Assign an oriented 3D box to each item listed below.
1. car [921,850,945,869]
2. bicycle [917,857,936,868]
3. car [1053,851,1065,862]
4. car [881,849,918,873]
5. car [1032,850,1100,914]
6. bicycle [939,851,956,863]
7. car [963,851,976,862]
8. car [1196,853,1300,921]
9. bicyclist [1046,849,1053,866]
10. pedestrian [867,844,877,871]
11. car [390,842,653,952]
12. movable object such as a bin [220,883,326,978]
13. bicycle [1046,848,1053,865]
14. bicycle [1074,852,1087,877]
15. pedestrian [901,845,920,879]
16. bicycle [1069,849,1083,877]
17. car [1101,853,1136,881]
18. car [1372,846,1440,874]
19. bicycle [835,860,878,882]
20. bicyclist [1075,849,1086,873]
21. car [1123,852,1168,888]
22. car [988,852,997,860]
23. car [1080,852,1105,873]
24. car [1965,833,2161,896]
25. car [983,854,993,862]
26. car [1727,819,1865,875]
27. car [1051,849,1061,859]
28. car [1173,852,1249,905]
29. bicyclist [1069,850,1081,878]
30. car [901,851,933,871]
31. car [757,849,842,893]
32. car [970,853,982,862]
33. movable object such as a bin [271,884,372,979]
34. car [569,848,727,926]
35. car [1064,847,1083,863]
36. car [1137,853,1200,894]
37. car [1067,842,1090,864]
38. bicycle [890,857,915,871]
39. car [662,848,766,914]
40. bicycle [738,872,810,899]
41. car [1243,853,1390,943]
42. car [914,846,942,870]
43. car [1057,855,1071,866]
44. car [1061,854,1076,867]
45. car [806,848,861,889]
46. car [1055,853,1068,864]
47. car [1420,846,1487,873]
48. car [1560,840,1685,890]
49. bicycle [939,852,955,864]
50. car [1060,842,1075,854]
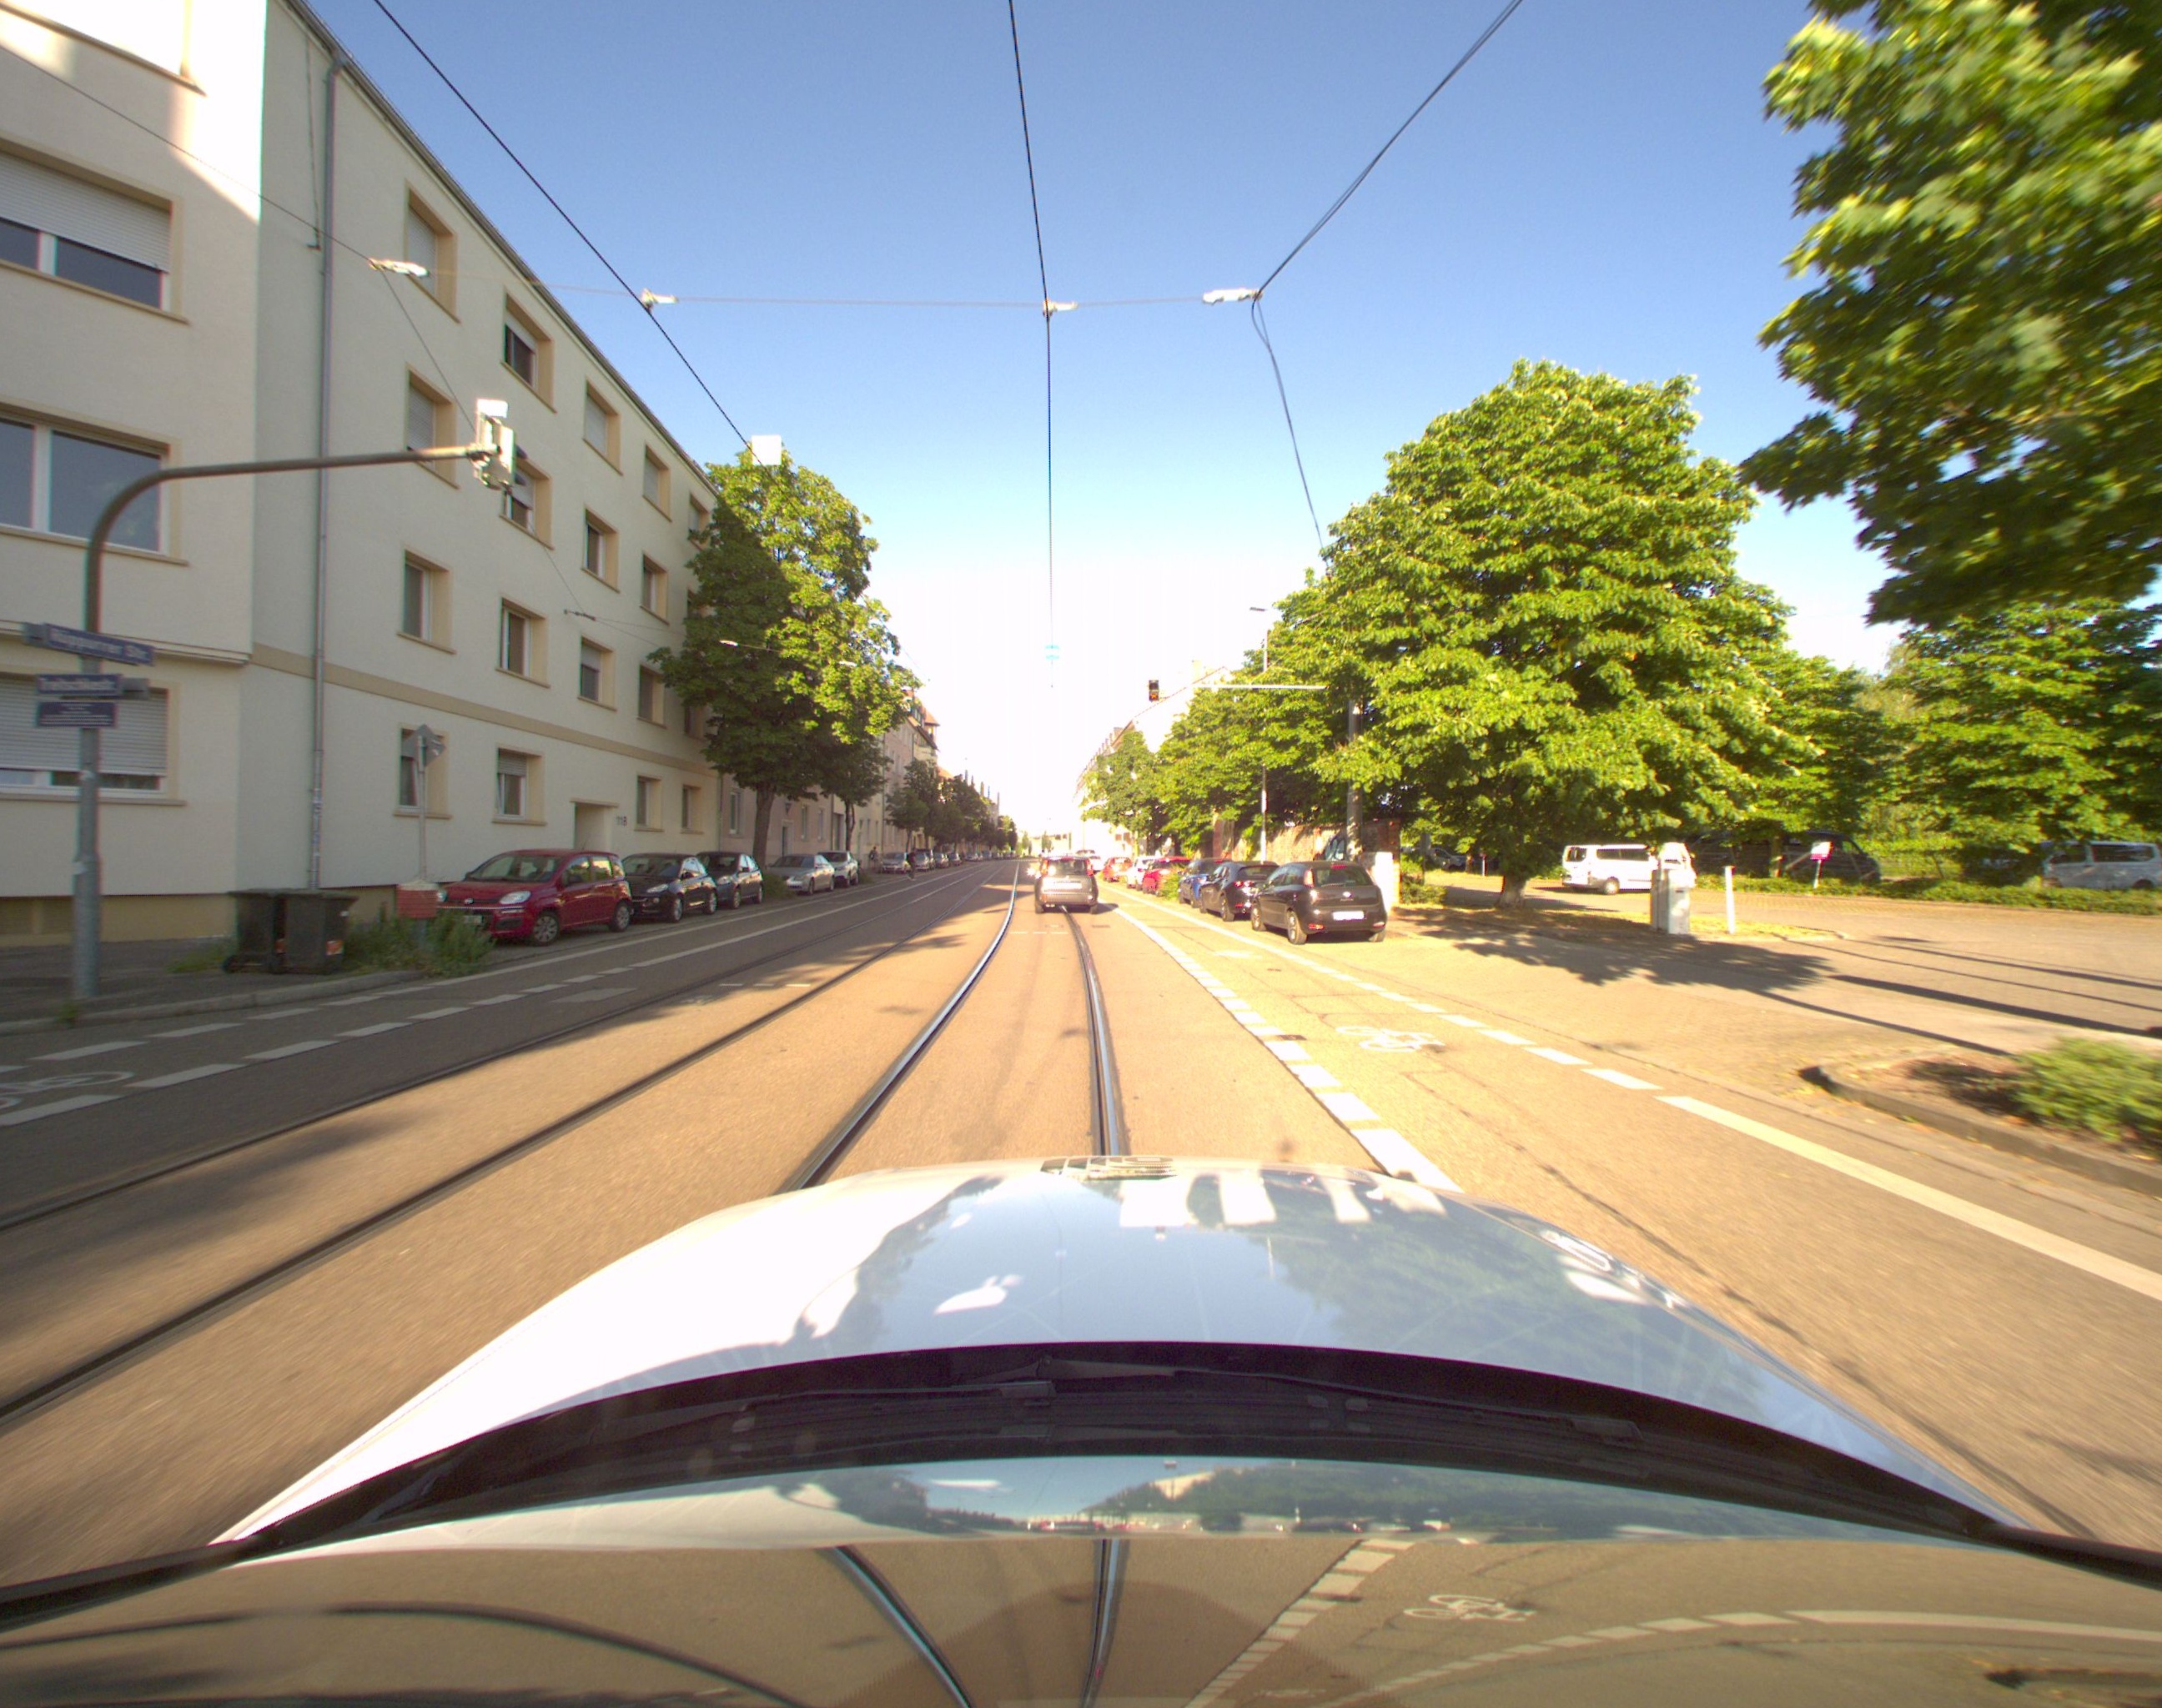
[{"bbox_3d":[-13.854,0.507,76.510,1.805,1.619,4.058,2,0,-4],"label":"car"},{"bbox_3d":[-13.836,0.800,73.078,1.631,0.937,0.515,2,0,-9],"label":"bicycle"},{"bbox_3d":[-3.256,0.420,122.153,1.580,1.599,3.370,2,0,-5],"label":"car"},{"bbox_3d":[-12.165,0.462,54.777,1.805,1.508,4.184,2,0,-4],"label":"car"},{"bbox_3d":[-0.374,0.700,22.327,1.645,1.541,4.234,-1,0,0],"label":"car"},{"bbox_3d":[-14.679,0.344,89.492,1.727,1.196,0.371,2,0,-9],"label":"bicycle"},{"bbox_3d":[-17.295,0.379,126.606,1.703,1.496,3.717,2,0,-3],"label":"car"},{"bbox_3d":[4.113,0.758,20.769,1.684,1.530,4.353,-1,0,-1],"label":"car"},{"bbox_3d":[-3.932,0.436,101.028,0.714,2.013,0.830,2,0,-5],"label":"bicyclist"},{"bbox_3d":[-14.279,0.207,55.652,0.535,1.826,0.542,2,0,-5],"label":"pedestrian"},{"bbox_3d":[-9.195,0.630,13.867,1.683,1.530,3.998,2,0,-1],"label":"car"},{"bbox_3d":[-8.971,0.831,9.061,0.483,0.987,0.659,2,0,-2],"label":"movable object such as a bin"},{"bbox_3d":[-3.922,0.321,100.957,0.740,2.013,2.807,2,0,-5],"label":"bicycle"},{"bbox_3d":[-0.044,0.747,59.337,0.674,1.747,2.154,2,0,-5],"label":"bicycle"},{"bbox_3d":[-9.058,0.428,43.317,0.853,1.776,0.729,-1,1,-24],"label":"pedestrian"},{"bbox_3d":[-0.349,0.562,51.354,0.674,1.747,2.154,2,0,-5],"label":"bicycle"},{"bbox_3d":[2.151,0.722,47.525,1.632,1.508,3.392,-2,0,-4],"label":"car"},{"bbox_3d":[22.848,0.424,57.307,3.977,1.772,1.998,2,0,-3],"label":"car"},{"bbox_3d":[-10.949,0.827,39.776,1.920,1.046,0.476,2,0,-4],"label":"bicycle"},{"bbox_3d":[-0.070,0.513,59.382,0.698,1.759,0.756,2,0,-6],"label":"bicyclist"},{"bbox_3d":[2.950,0.703,37.932,1.684,1.530,3.998,-1,0,-1],"label":"car"},{"bbox_3d":[-18.498,0.419,170.866,1.703,1.496,3.717,2,0,-3],"label":"car"},{"bbox_3d":[0.878,0.676,65.586,1.653,1.571,3.493,2,0,-5],"label":"car"},{"bbox_3d":[31.483,0.342,25.947,4.672,1.816,1.960,2,0,-3],"label":"car"},{"bbox_3d":[-17.734,0.680,155.171,1.703,1.496,3.717,2,0,-3],"label":"car"},{"bbox_3d":[29.990,-0.280,34.232,4.183,2.241,2.139,0,0,-7],"label":"car"},{"bbox_3d":[-4.317,0.033,140.040,1.580,1.599,3.370,2,0,-5],"label":"car"},{"bbox_3d":[4.046,0.722,25.912,1.684,1.530,3.998,-1,0,-1],"label":"car"},{"bbox_3d":[-0.386,0.629,51.443,0.698,1.759,0.756,2,0,-6],"label":"bicyclist"},{"bbox_3d":[-12.750,0.529,63.482,1.805,1.508,4.673,2,0,-4],"label":"car"},{"bbox_3d":[-10.348,0.589,30.287,1.685,1.475,4.655,2,0,-3],"label":"car"},{"bbox_3d":[-18.204,0.643,140.905,1.703,1.496,3.717,2,0,-3],"label":"car"},{"bbox_3d":[-8.455,0.846,9.089,0.483,0.987,0.659,2,0,-2],"label":"movable object such as a bin"},{"bbox_3d":[-9.525,0.666,18.276,1.784,1.530,3.849,2,0,-7],"label":"car"},{"bbox_3d":[-0.776,0.121,81.015,1.653,1.500,3.124,2,0,-5],"label":"car"},{"bbox_3d":[3.442,0.742,32.693,1.687,1.530,3.991,-1,0,-7],"label":"car"},{"bbox_3d":[-0.265,-0.082,75.523,1.653,1.944,4.656,2,0,-5],"label":"car"},{"bbox_3d":[-12.907,0.719,58.938,1.662,1.001,0.476,2,0,-2],"label":"bicycle"},{"bbox_3d":[-9.913,0.675,22.281,1.590,1.614,3.720,2,0,-9],"label":"car"},{"bbox_3d":[-10.131,1.027,26.911,2.124,0.824,0.476,2,0,-6],"label":"bicycle"},{"bbox_3d":[4.476,0.758,16.084,1.684,1.530,3.998,-1,0,-1],"label":"car"},{"bbox_3d":[-13.030,0.351,69.572,1.805,1.943,4.327,2,0,-4],"label":"car"},{"bbox_3d":[-2.290,0.884,108.685,1.580,1.405,3.370,2,0,-5],"label":"car"},{"bbox_3d":[-1.499,0.782,96.288,1.580,1.405,3.370,-3,0,-5],"label":"car"},{"bbox_3d":[-10.847,0.593,35.930,1.650,1.668,4.284,2,0,-8],"label":"car"},{"bbox_3d":[-2.829,0.622,114.866,1.580,1.599,3.370,2,0,-5],"label":"car"},{"bbox_3d":[26.902,0.388,58.875,3.978,1.772,1.998,2,0,-4],"label":"car"},{"bbox_3d":[21.659,0.433,32.624,3.901,1.861,1.804,2,0,-6],"label":"car"},{"bbox_3d":[-14.659,0.421,89.137,1.727,1.196,0.371,2,0,-9],"label":"bicycle"},{"bbox_3d":[-1.652,-0.712,101.596,1.580,1.405,3.370,2,0,-5],"label":"car"}]
